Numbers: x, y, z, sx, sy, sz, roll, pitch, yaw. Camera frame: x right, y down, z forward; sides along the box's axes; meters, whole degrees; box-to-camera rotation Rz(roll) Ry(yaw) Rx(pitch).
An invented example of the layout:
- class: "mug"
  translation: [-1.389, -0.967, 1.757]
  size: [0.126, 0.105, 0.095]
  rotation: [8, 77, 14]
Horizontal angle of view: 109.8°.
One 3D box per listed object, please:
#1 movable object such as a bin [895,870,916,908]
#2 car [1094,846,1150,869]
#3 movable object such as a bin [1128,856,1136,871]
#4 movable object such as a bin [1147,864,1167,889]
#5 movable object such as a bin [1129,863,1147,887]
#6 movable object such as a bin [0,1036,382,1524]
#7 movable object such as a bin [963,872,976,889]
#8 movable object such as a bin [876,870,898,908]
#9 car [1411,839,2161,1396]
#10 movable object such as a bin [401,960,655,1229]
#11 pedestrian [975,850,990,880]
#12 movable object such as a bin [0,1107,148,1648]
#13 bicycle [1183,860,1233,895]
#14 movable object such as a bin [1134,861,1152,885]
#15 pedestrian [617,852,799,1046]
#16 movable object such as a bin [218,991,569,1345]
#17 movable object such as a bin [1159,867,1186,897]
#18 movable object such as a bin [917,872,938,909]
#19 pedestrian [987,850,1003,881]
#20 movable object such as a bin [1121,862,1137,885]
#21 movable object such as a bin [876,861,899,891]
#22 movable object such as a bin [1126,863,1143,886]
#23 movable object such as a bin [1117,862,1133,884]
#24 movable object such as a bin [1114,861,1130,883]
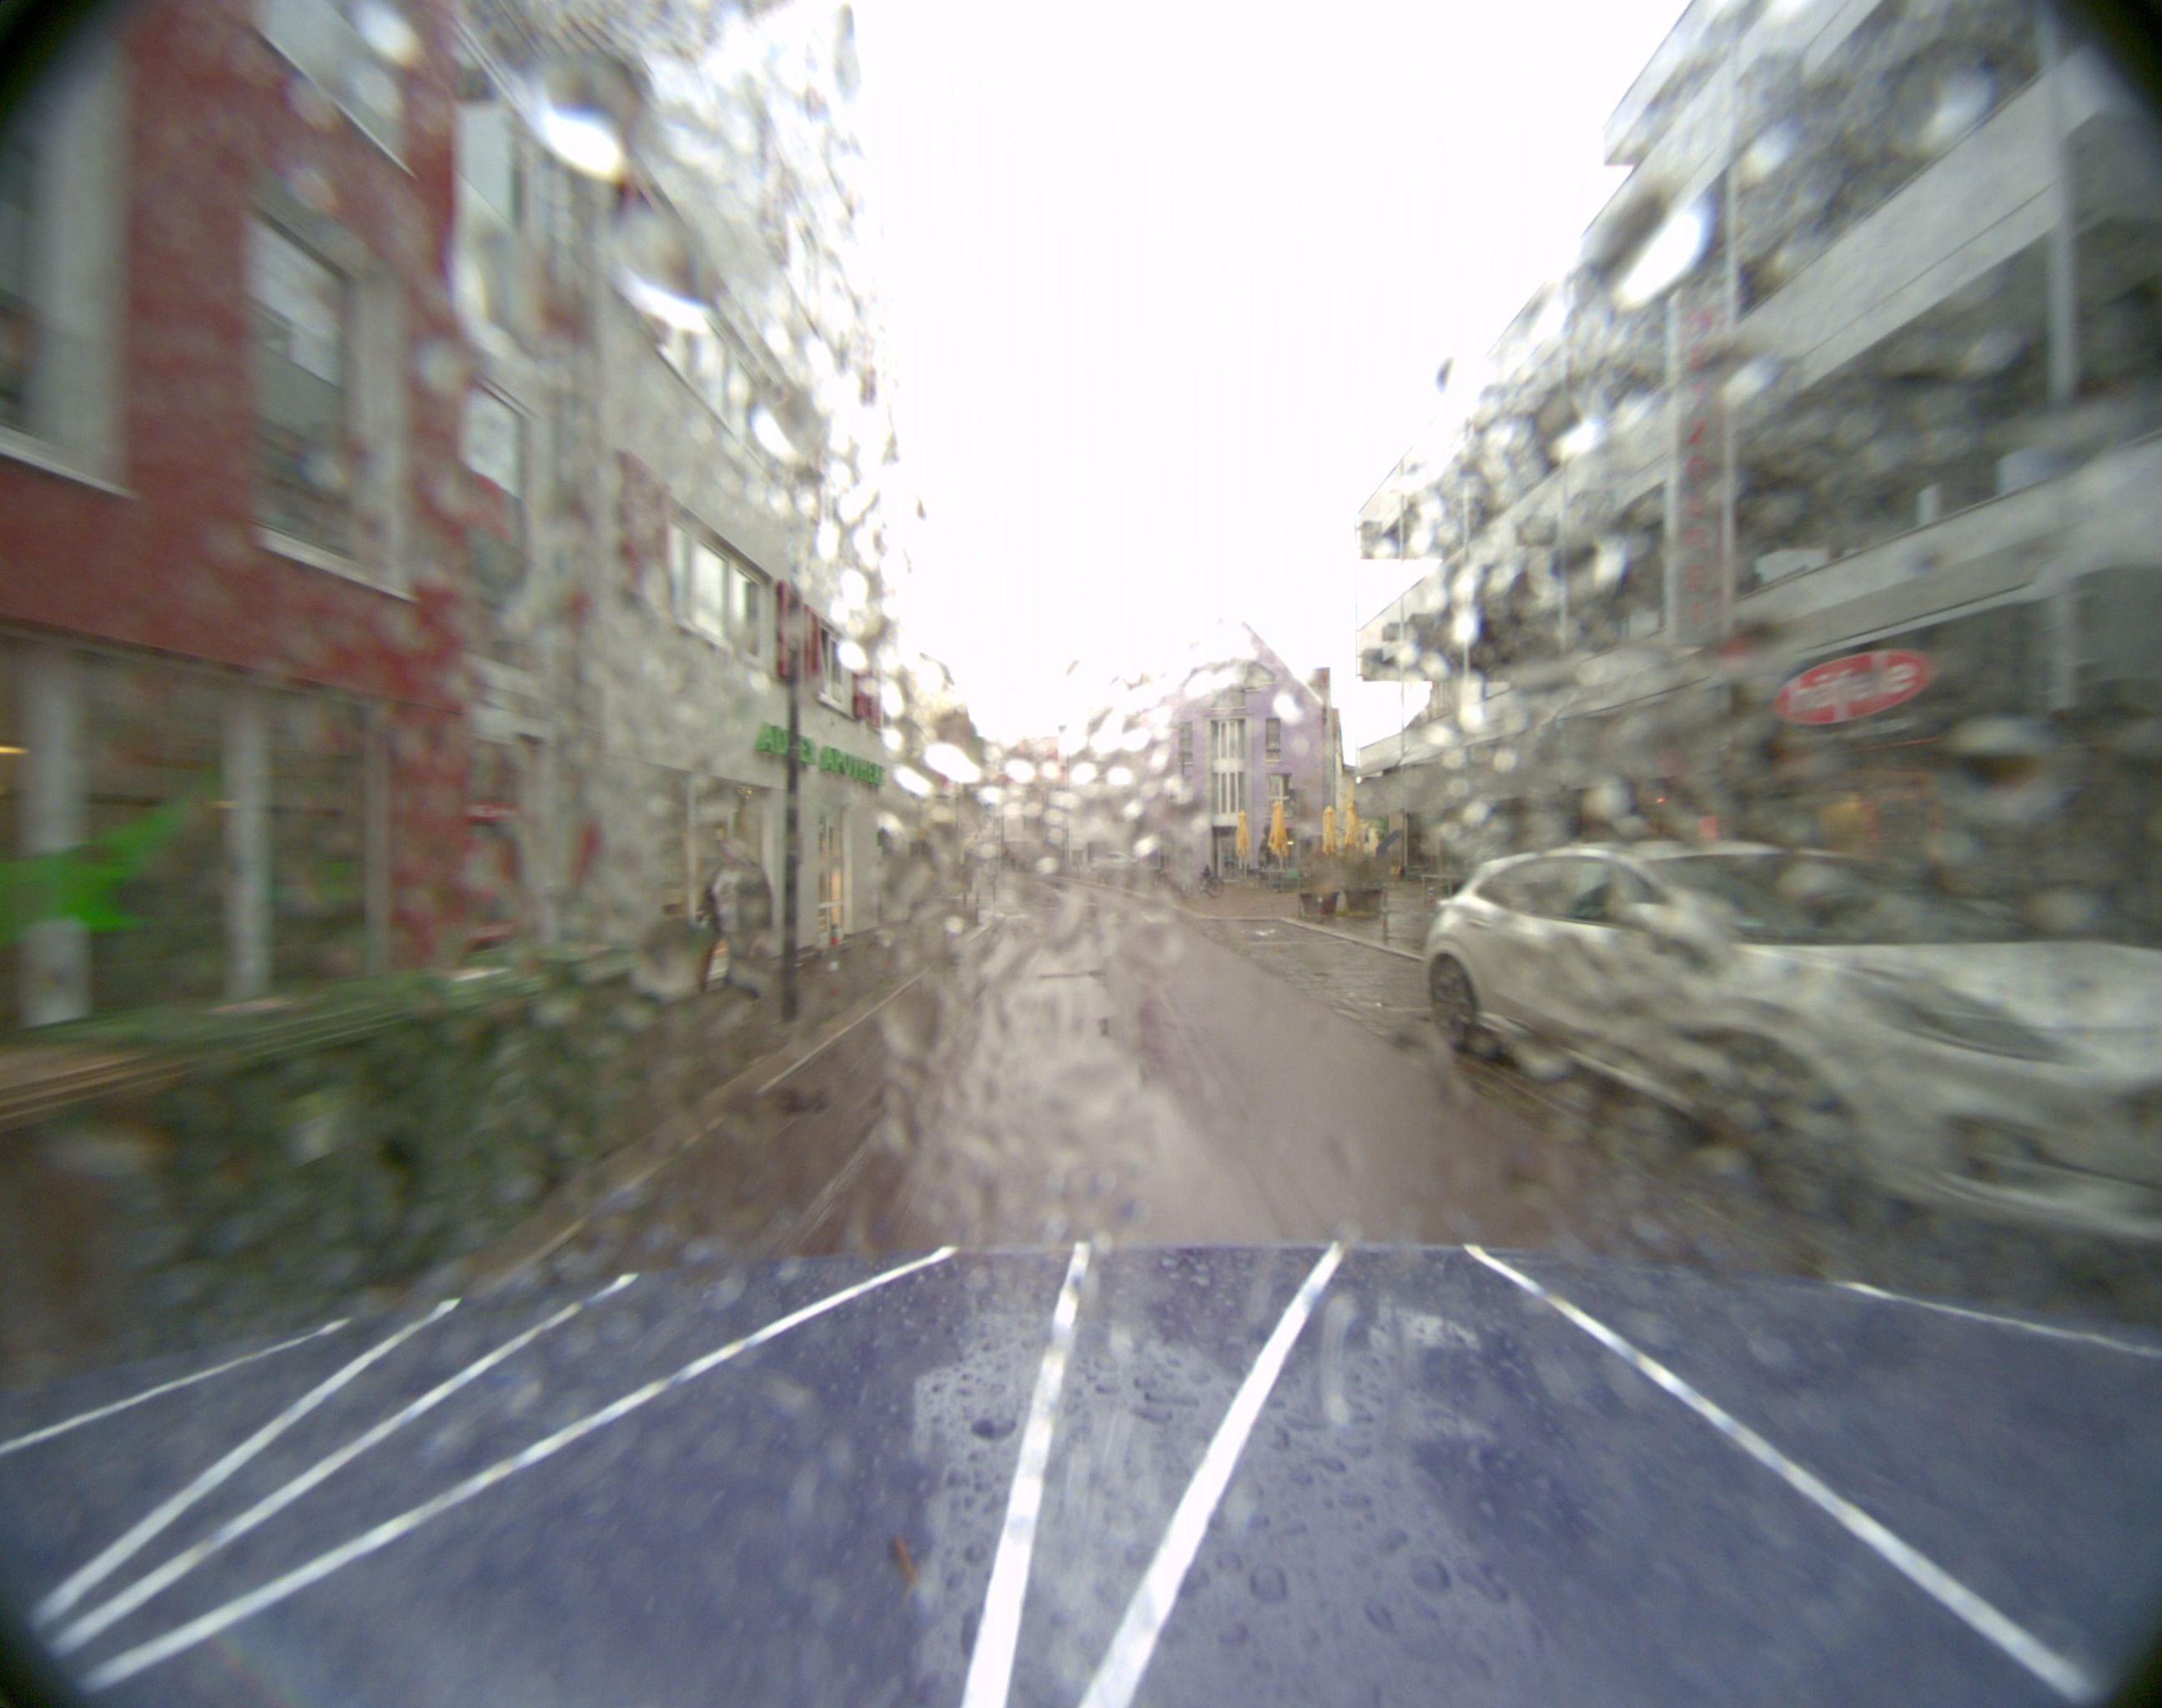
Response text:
- class: "movable object such as a bin"
  translation: [-5.144, 1.021, 22.276]
  size: [0.502, 1.050, 0.548]
  rotation: [1, 2, -1]
- class: "car"
  translation: [3.064, 0.268, 56.223]
  size: [3.993, 1.575, 1.833]
  rotation: [-1, 2, 7]
- class: "movable object such as a bin"
  translation: [3.412, 0.656, 51.159]
  size: [0.488, 0.983, 0.573]
  rotation: [-1, 2, -1]
- class: "movable object such as a bin"
  translation: [3.269, 0.961, 32.646]
  size: [0.689, 1.070, 0.669]
  rotation: [-1, 1, -9]
- class: "movable object such as a bin"
  translation: [2.697, 0.981, 35.920]
  size: [0.689, 1.099, 0.669]
  rotation: [-1, 1, -9]
- class: "movable object such as a bin"
  translation: [-2.706, 1.153, 2.225]
  size: [0.712, 1.088, 0.614]
  rotation: [-1, 1, 1]
- class: "movable object such as a bin"
  translation: [-5.508, 1.312, 37.578]
  size: [0.547, 0.831, 0.909]
  rotation: [1, 0, -6]
- class: "movable object such as a bin"
  translation: [-5.679, 1.012, 22.267]
  size: [0.502, 1.050, 0.548]
  rotation: [1, 2, -1]
- class: "car"
  translation: [3.572, 0.691, 4.100]
  size: [1.796, 1.542, 3.999]
  rotation: [0, 1, -1]
- class: "movable object such as a bin"
  translation: [-2.640, 1.115, 3.713]
  size: [0.678, 1.080, 0.718]
  rotation: [-1, 1, 1]
- class: "pedestrian"
  translation: [-6.132, 0.686, 47.359]
  size: [0.656, 1.892, 0.657]
  rotation: [1, 1, -26]
- class: "movable object such as a bin"
  translation: [-2.680, 1.163, 1.543]
  size: [0.731, 1.075, 0.646]
  rotation: [-1, 1, 1]
- class: "bicycle"
  translation: [4.527, 0.826, 27.100]
  size: [1.753, 1.158, 0.443]
  rotation: [-2, 3, -20]
- class: "movable object such as a bin"
  translation: [2.840, 0.857, 34.725]
  size: [0.689, 1.067, 0.669]
  rotation: [-1, 1, -9]
- class: "pedestrian"
  translation: [-3.487, 0.838, 7.249]
  size: [1.181, 1.688, 1.177]
  rotation: [1, 1, -3]
- class: "movable object such as a bin"
  translation: [-2.569, 1.135, 2.931]
  size: [0.678, 1.078, 0.698]
  rotation: [-1, 1, 1]
- class: "movable object such as a bin"
  translation: [3.186, 0.973, 26.484]
  size: [0.689, 1.014, 0.631]
  rotation: [-1, 1, -17]
- class: "movable object such as a bin"
  translation: [-4.503, 1.064, 22.355]
  size: [0.502, 1.050, 0.548]
  rotation: [1, 2, -1]
- class: "pedestrian"
  translation: [-5.372, 0.696, 47.539]
  size: [0.775, 1.894, 0.803]
  rotation: [0, 2, -26]
- class: "movable object such as a bin"
  translation: [2.383, 0.960, 37.756]
  size: [0.689, 1.075, 0.669]
  rotation: [-1, 1, -9]
- class: "movable object such as a bin"
  translation: [-7.089, 0.803, 27.798]
  size: [0.513, 1.050, 0.626]
  rotation: [3, 3, 29]
- class: "movable object such as a bin"
  translation: [2.582, 0.974, 36.614]
  size: [0.689, 1.099, 0.669]
  rotation: [-1, 1, -9]
- class: "movable object such as a bin"
  translation: [2.238, 0.947, 38.676]
  size: [0.689, 1.081, 0.712]
  rotation: [-1, 1, -9]
- class: "movable object such as a bin"
  translation: [2.130, 0.931, 39.417]
  size: [0.689, 1.072, 0.676]
  rotation: [-1, 1, -9]
